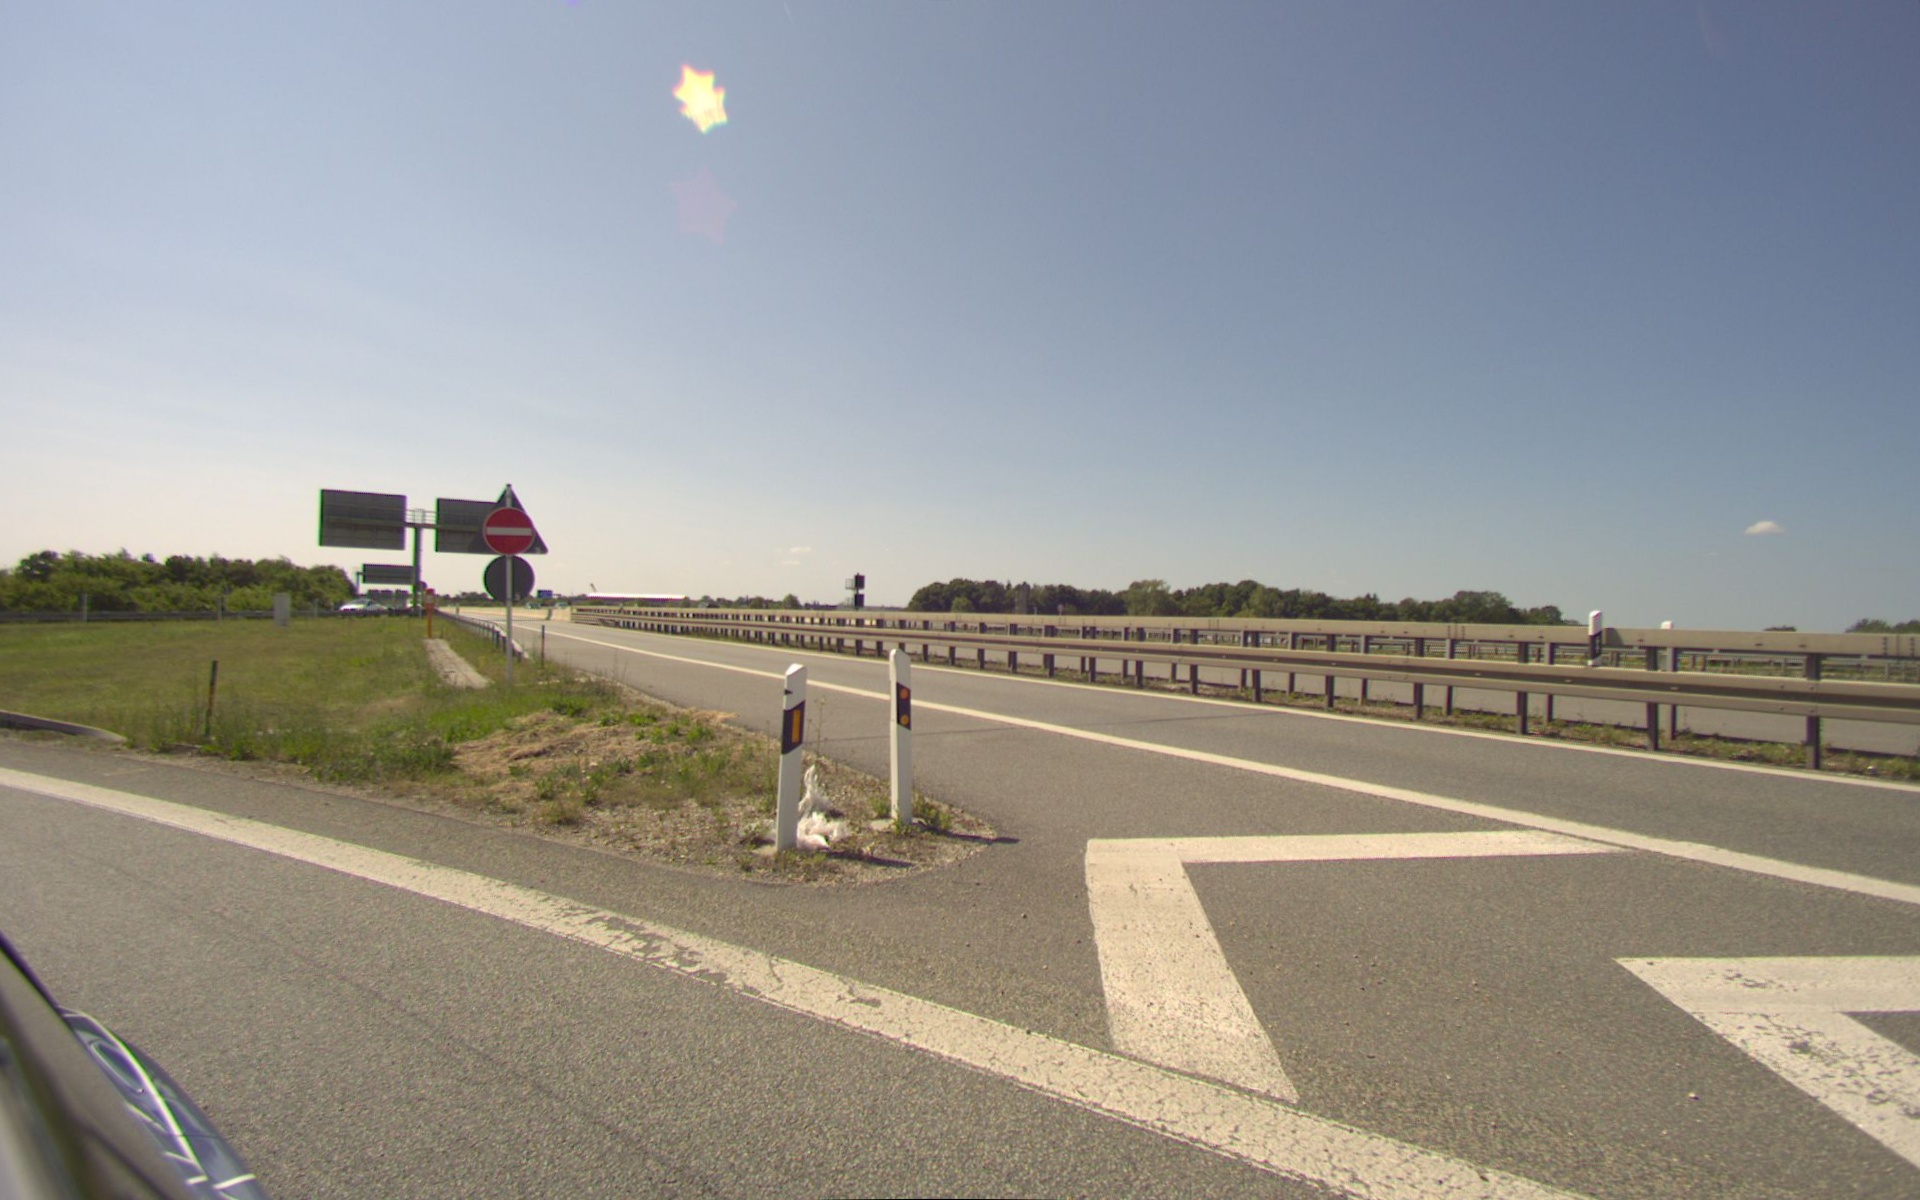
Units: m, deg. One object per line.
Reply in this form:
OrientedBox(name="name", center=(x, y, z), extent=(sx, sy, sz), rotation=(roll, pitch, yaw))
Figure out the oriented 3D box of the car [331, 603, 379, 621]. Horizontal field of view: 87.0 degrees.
OrientedBox(name="car", center=(-53.612, 1.054, 89.743), extent=(1.969, 1.519, 4.304), rotation=(-1, 0, -5))
